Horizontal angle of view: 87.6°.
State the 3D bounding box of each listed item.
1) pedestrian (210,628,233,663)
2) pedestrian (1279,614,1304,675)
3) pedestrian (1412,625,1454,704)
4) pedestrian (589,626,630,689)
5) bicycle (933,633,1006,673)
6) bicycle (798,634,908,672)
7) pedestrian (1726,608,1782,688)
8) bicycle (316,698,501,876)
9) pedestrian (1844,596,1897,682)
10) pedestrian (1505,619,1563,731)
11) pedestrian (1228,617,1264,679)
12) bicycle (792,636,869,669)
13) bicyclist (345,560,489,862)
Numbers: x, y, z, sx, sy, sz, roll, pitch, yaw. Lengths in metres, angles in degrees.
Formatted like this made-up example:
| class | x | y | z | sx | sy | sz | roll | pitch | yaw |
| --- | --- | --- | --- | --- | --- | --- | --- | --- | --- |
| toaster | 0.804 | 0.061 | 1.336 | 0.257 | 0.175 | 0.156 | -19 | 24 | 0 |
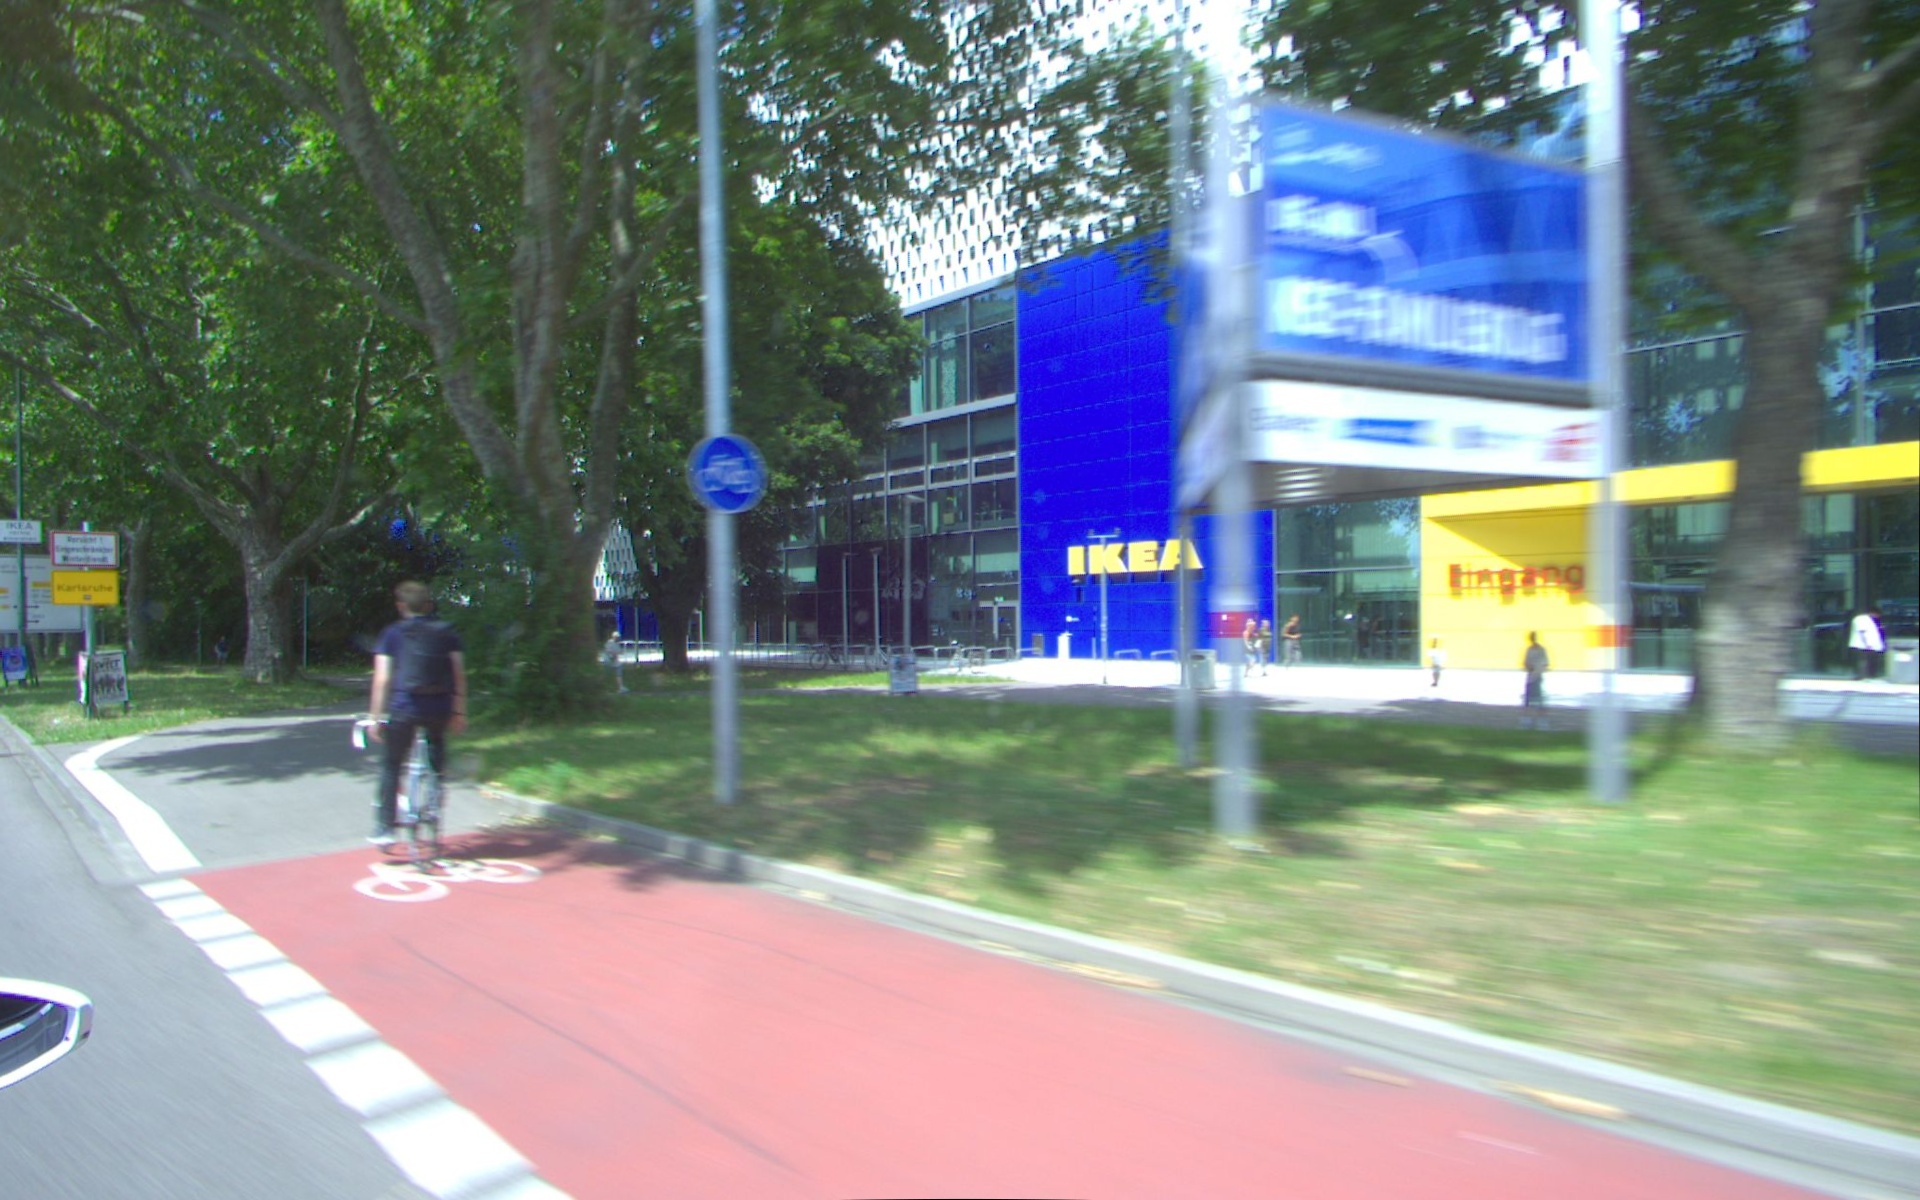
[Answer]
| class | x | y | z | sx | sy | sz | roll | pitch | yaw |
| --- | --- | --- | --- | --- | --- | --- | --- | --- | --- |
| pedestrian | -43.398 | 2.669 | 58.846 | 0.946 | 2.039 | 0.832 | -1 | -3 | 43 |
| pedestrian | 9.458 | 1.256 | 28.567 | 0.534 | 1.723 | 0.421 | 1 | 0 | -8 |
| pedestrian | 10.001 | 1.350 | 21.181 | 0.658 | 1.637 | 0.587 | -1 | -2 | 42 |
| pedestrian | -9.784 | 1.595 | 27.934 | 0.882 | 1.717 | 0.770 | -1 | -1 | 45 |
| bicycle | 0.332 | 1.724 | 32.747 | 2.497 | 1.191 | 0.689 | -1 | 0 | -38 |
| bicycle | -3.800 | 1.854 | 35.606 | 3.773 | 1.191 | 0.984 | -1 | 0 | -21 |
| pedestrian | 17.165 | 1.032 | 21.664 | 0.691 | 1.686 | 0.803 | -1 | 1 | 16 |
| bicycle | -3.889 | 1.216 | 6.981 | 0.616 | 1.011 | 2.004 | 2 | -4 | -44 |
| pedestrian | 20.576 | 0.881 | 22.641 | 0.610 | 1.910 | 0.777 | 2 | -1 | -35 |
| pedestrian | 9.516 | 1.221 | 16.598 | 0.659 | 1.795 | 0.663 | 0 | -1 | -43 |
| pedestrian | 8.095 | 1.352 | 28.375 | 0.770 | 1.685 | 0.888 | -2 | -1 | 5 |
| bicycle | -4.824 | 1.941 | 37.368 | 2.731 | 1.136 | 0.894 | -1 | 0 | -21 |
| bicyclist | -3.671 | 0.710 | 6.756 | 0.605 | 1.869 | 0.915 | 2 | -2 | -45 |
